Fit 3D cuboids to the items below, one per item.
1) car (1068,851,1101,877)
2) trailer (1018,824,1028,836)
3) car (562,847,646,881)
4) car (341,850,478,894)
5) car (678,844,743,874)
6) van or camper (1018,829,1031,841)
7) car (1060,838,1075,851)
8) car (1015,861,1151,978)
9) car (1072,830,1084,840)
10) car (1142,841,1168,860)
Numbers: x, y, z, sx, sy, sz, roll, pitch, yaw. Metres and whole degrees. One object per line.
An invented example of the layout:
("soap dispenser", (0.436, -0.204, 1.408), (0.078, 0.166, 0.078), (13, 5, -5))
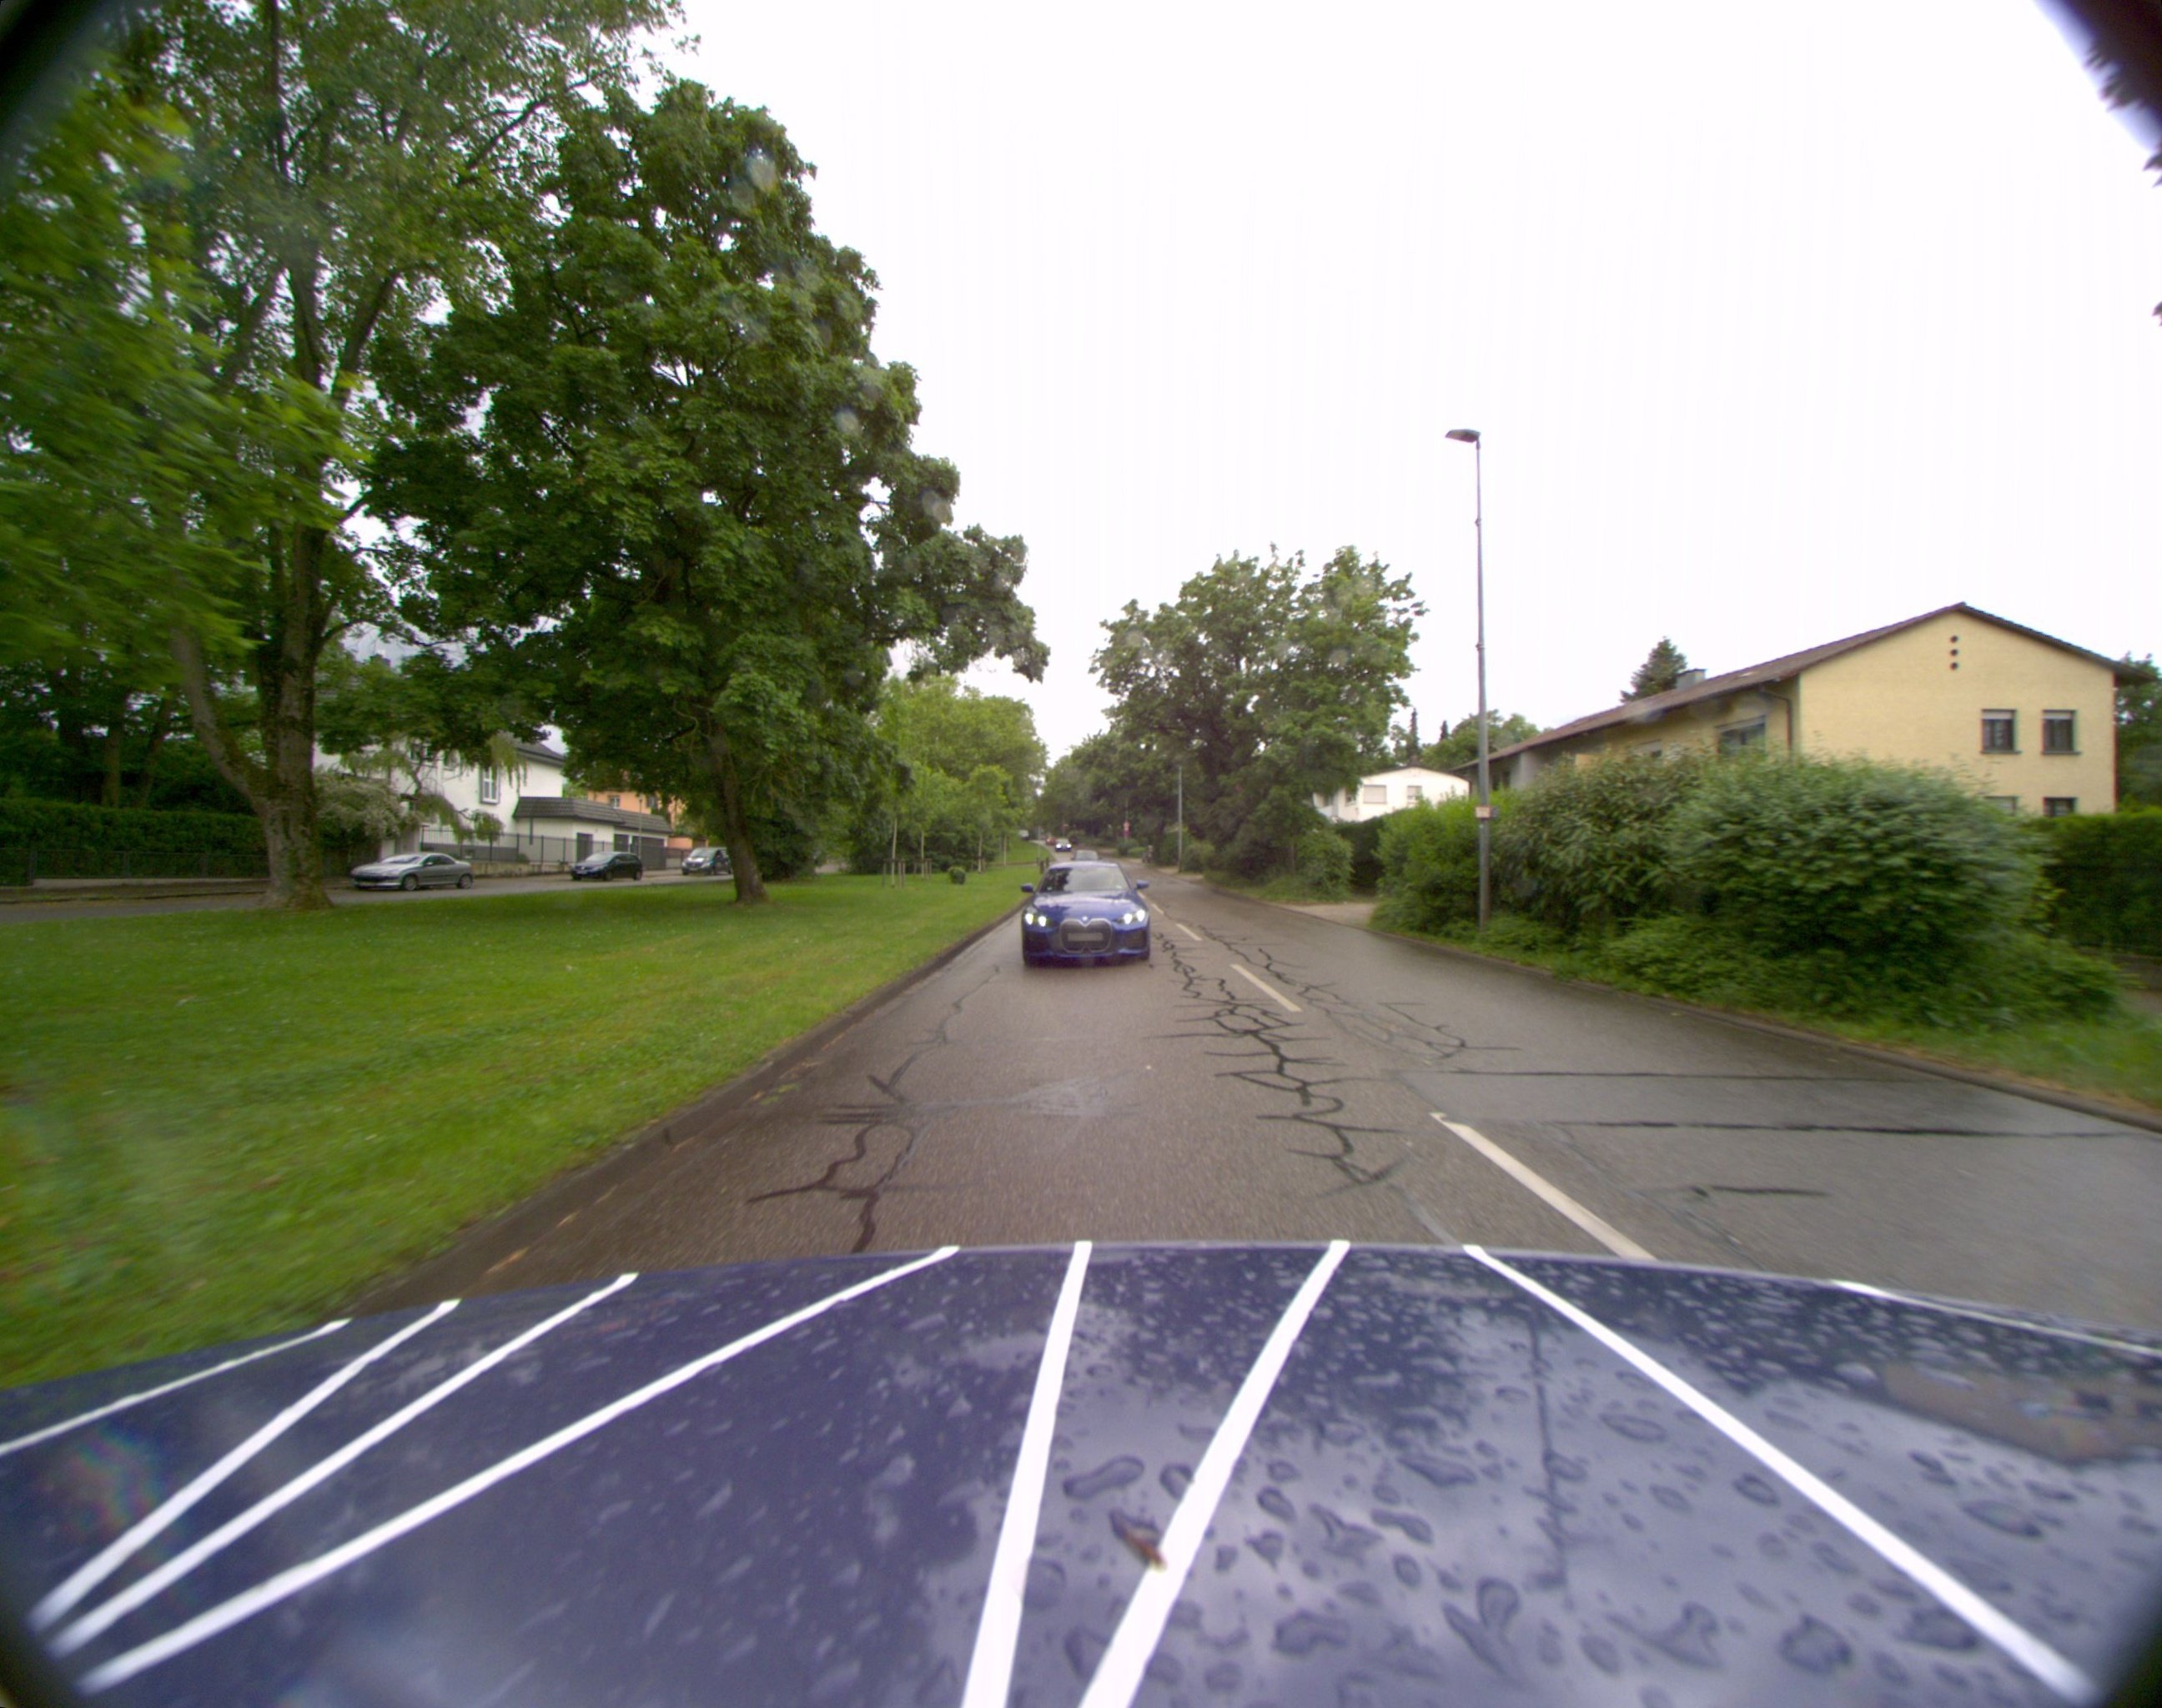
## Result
("car", (0.282, 0.565, 45.158), (1.796, 1.458, 4.511), (0, 0, 2))
("trailer", (-10.680, -4.428, 140.441), (1.702, 2.043, 3.947), (0, 3, -7))
("car", (-24.534, 0.461, 39.256), (1.907, 1.615, 4.033), (1, 1, -3))
("car", (-23.906, 0.587, 27.241), (1.686, 1.367, 3.708), (3, 1, -2))
("car", (-25.170, 0.281, 51.868), (2.165, 1.868, 5.067), (1, 1, -2))
("van or camper", (-10.150, -3.420, 135.550), (2.000, 1.858, 5.658), (1, 2, -7))
("car", (-1.738, -1.225, 99.023), (1.678, 1.542, 3.832), (1, 1, 1))
("car", (0.113, 0.902, 12.477), (1.796, 1.459, 4.510), (-1, 1, 2))
("car", (-0.472, -2.992, 119.930), (1.759, 1.356, 4.321), (2, 4, -1))
("car", (6.637, -0.314, 68.422), (1.668, 1.533, 4.281), (-3, 2, -4))
